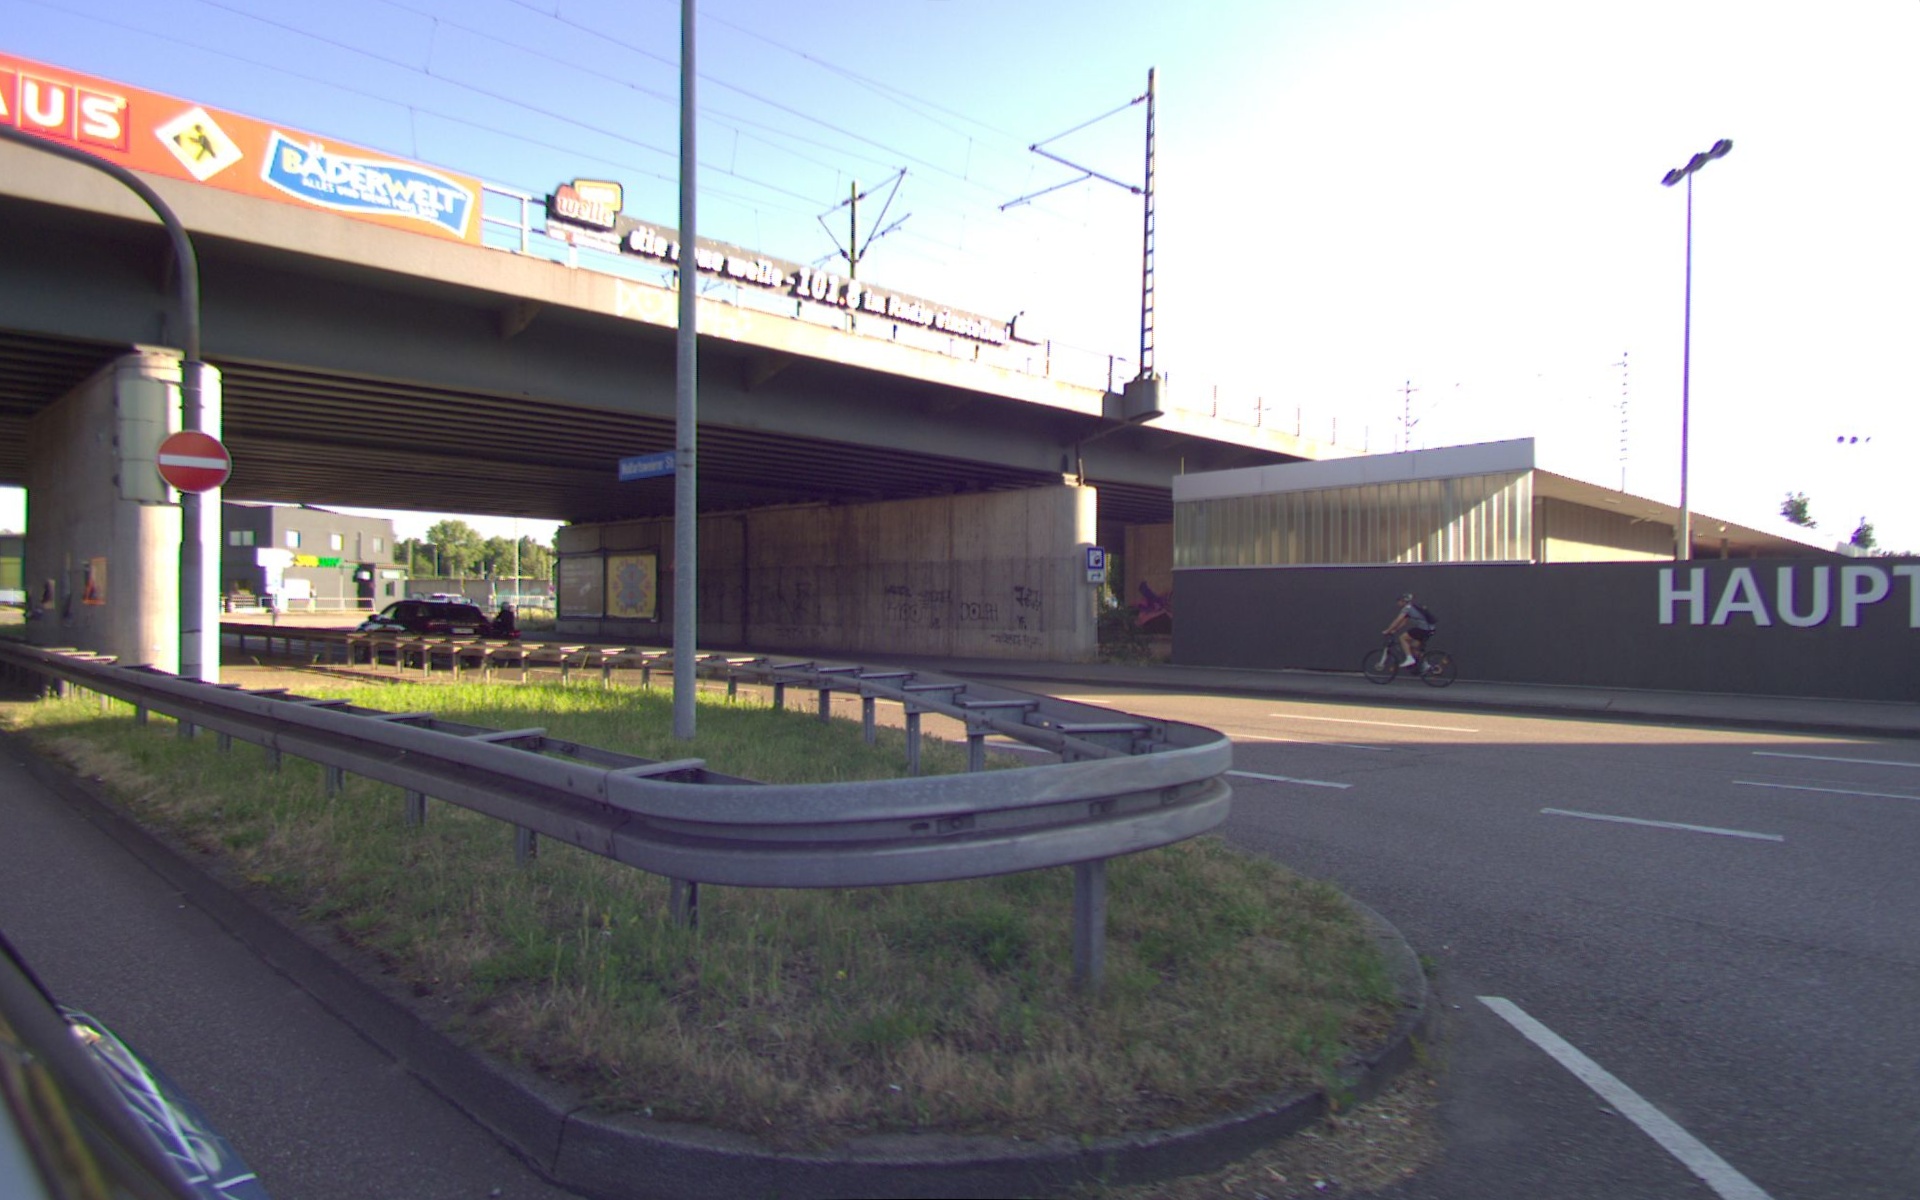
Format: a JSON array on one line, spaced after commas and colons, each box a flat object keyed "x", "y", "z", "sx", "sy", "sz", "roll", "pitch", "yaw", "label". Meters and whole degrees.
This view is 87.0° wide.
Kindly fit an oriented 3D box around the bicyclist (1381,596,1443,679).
[{"x": 9.022, "y": 0.725, "z": 20.214, "sx": 0.716, "sy": 1.575, "sz": 0.940, "roll": -1, "pitch": 2, "yaw": -44, "label": "bicyclist"}]

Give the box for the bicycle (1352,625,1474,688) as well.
[{"x": 9.023, "y": 1.105, "z": 20.229, "sx": 0.697, "sy": 1.165, "sz": 2.082, "roll": -1, "pitch": 0, "yaw": -44, "label": "bicycle"}]

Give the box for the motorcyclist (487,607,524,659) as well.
[{"x": -12.902, "y": 0.919, "z": 28.741, "sx": 0.868, "sy": 1.434, "sz": 0.673, "roll": 1, "pitch": 2, "yaw": 44, "label": "motorcyclist"}]

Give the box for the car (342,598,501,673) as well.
[{"x": -13.957, "y": 0.889, "z": 26.126, "sx": 4.678, "sy": 1.709, "sz": 1.973, "roll": 1, "pitch": -3, "yaw": 40, "label": "car"}]

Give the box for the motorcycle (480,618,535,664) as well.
[{"x": -12.855, "y": 1.143, "z": 28.707, "sx": 0.673, "sy": 1.165, "sz": 2.240, "roll": -1, "pitch": 2, "yaw": -45, "label": "motorcycle"}]
